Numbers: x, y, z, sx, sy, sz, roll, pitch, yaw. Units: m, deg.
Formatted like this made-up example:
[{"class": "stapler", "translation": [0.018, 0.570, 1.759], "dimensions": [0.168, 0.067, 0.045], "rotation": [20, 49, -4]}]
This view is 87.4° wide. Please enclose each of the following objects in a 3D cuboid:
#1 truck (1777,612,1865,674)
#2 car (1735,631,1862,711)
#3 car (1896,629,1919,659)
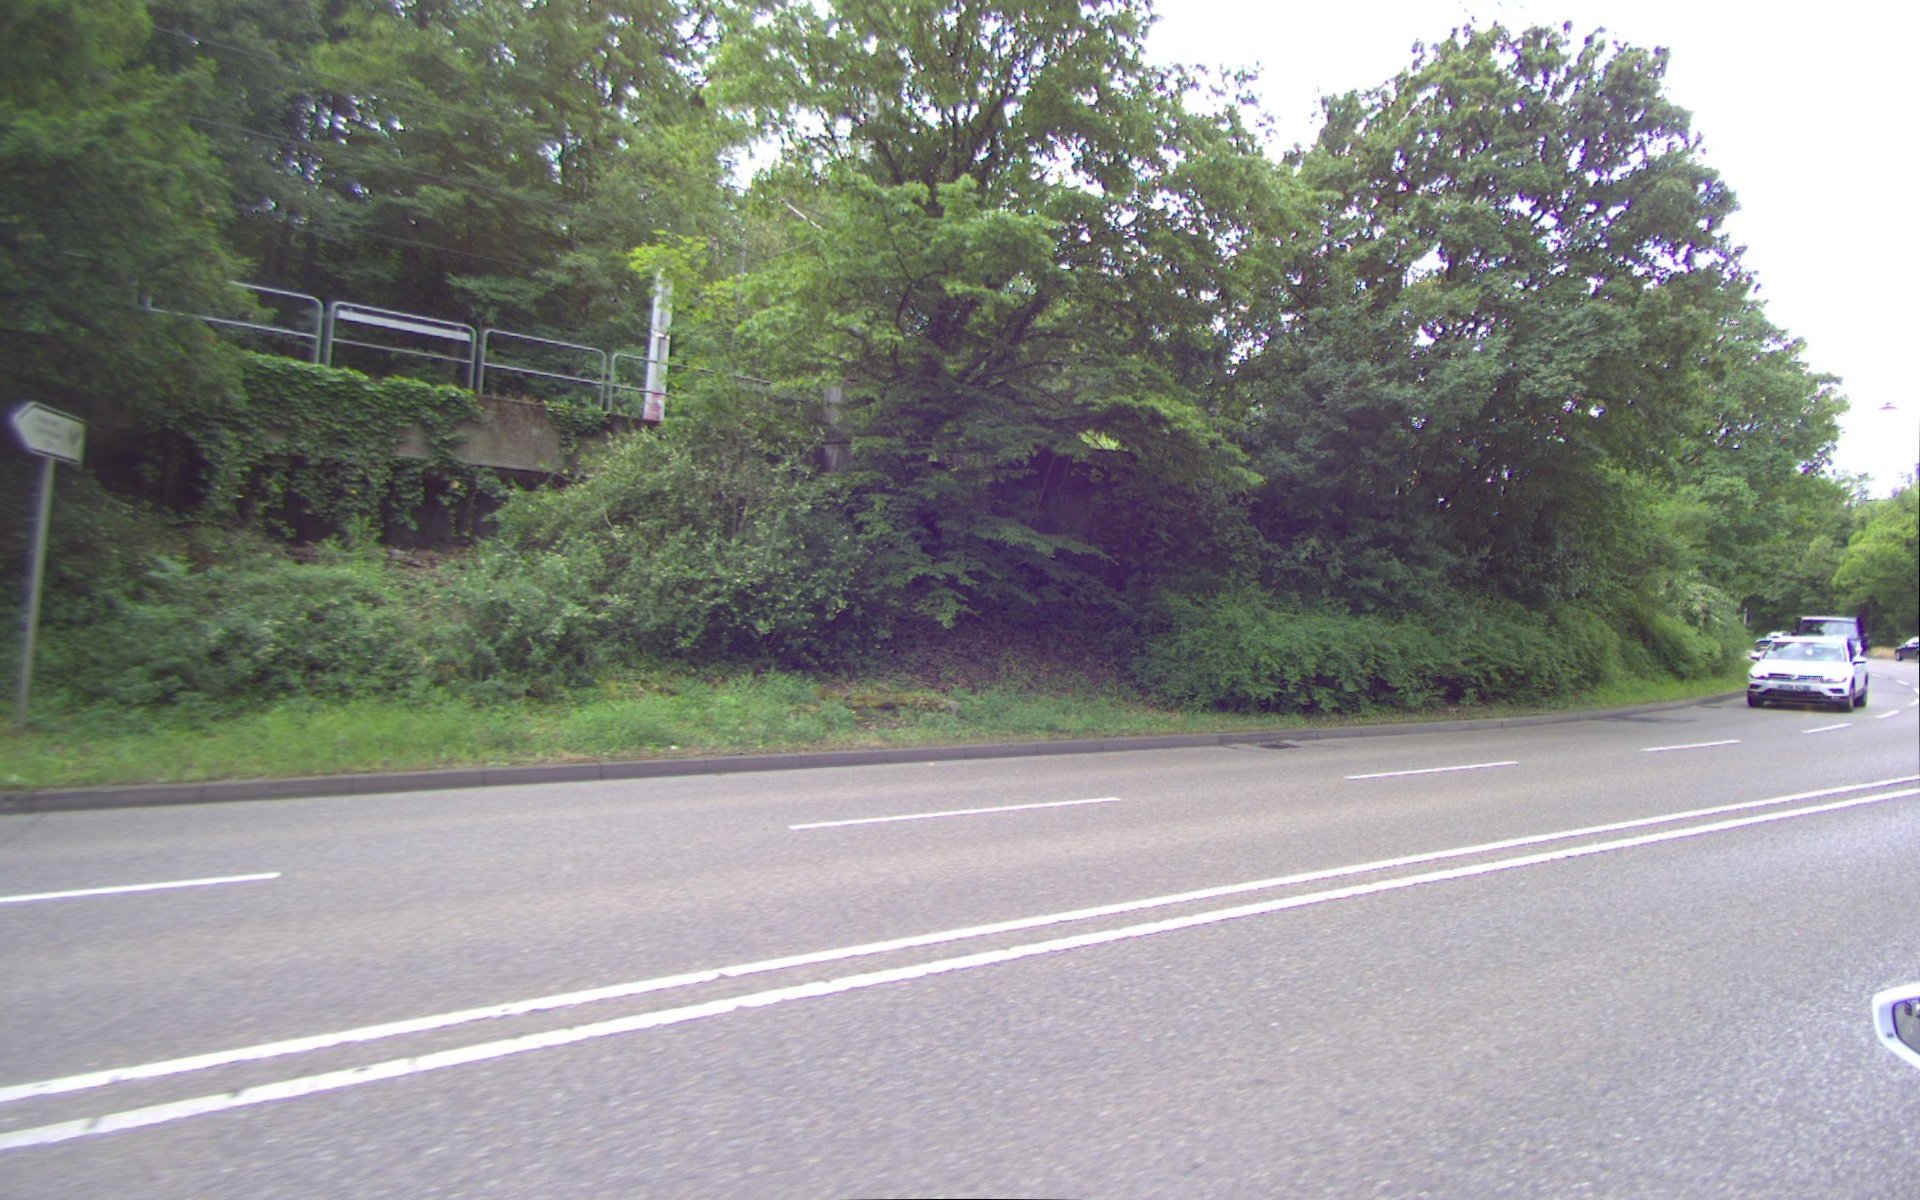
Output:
[{"class": "truck", "translation": [36.652, 1.799, 42.931], "dimensions": [2.131, 2.402, 6.658], "rotation": [0, -1, 35]}, {"class": "car", "translation": [19.852, 1.648, 23.708], "dimensions": [4.407, 1.716, 1.838], "rotation": [3, -5, -45]}, {"class": "car", "translation": [55.867, 2.566, 57.847], "dimensions": [1.739, 1.628, 3.995], "rotation": [4, 1, 27]}]
